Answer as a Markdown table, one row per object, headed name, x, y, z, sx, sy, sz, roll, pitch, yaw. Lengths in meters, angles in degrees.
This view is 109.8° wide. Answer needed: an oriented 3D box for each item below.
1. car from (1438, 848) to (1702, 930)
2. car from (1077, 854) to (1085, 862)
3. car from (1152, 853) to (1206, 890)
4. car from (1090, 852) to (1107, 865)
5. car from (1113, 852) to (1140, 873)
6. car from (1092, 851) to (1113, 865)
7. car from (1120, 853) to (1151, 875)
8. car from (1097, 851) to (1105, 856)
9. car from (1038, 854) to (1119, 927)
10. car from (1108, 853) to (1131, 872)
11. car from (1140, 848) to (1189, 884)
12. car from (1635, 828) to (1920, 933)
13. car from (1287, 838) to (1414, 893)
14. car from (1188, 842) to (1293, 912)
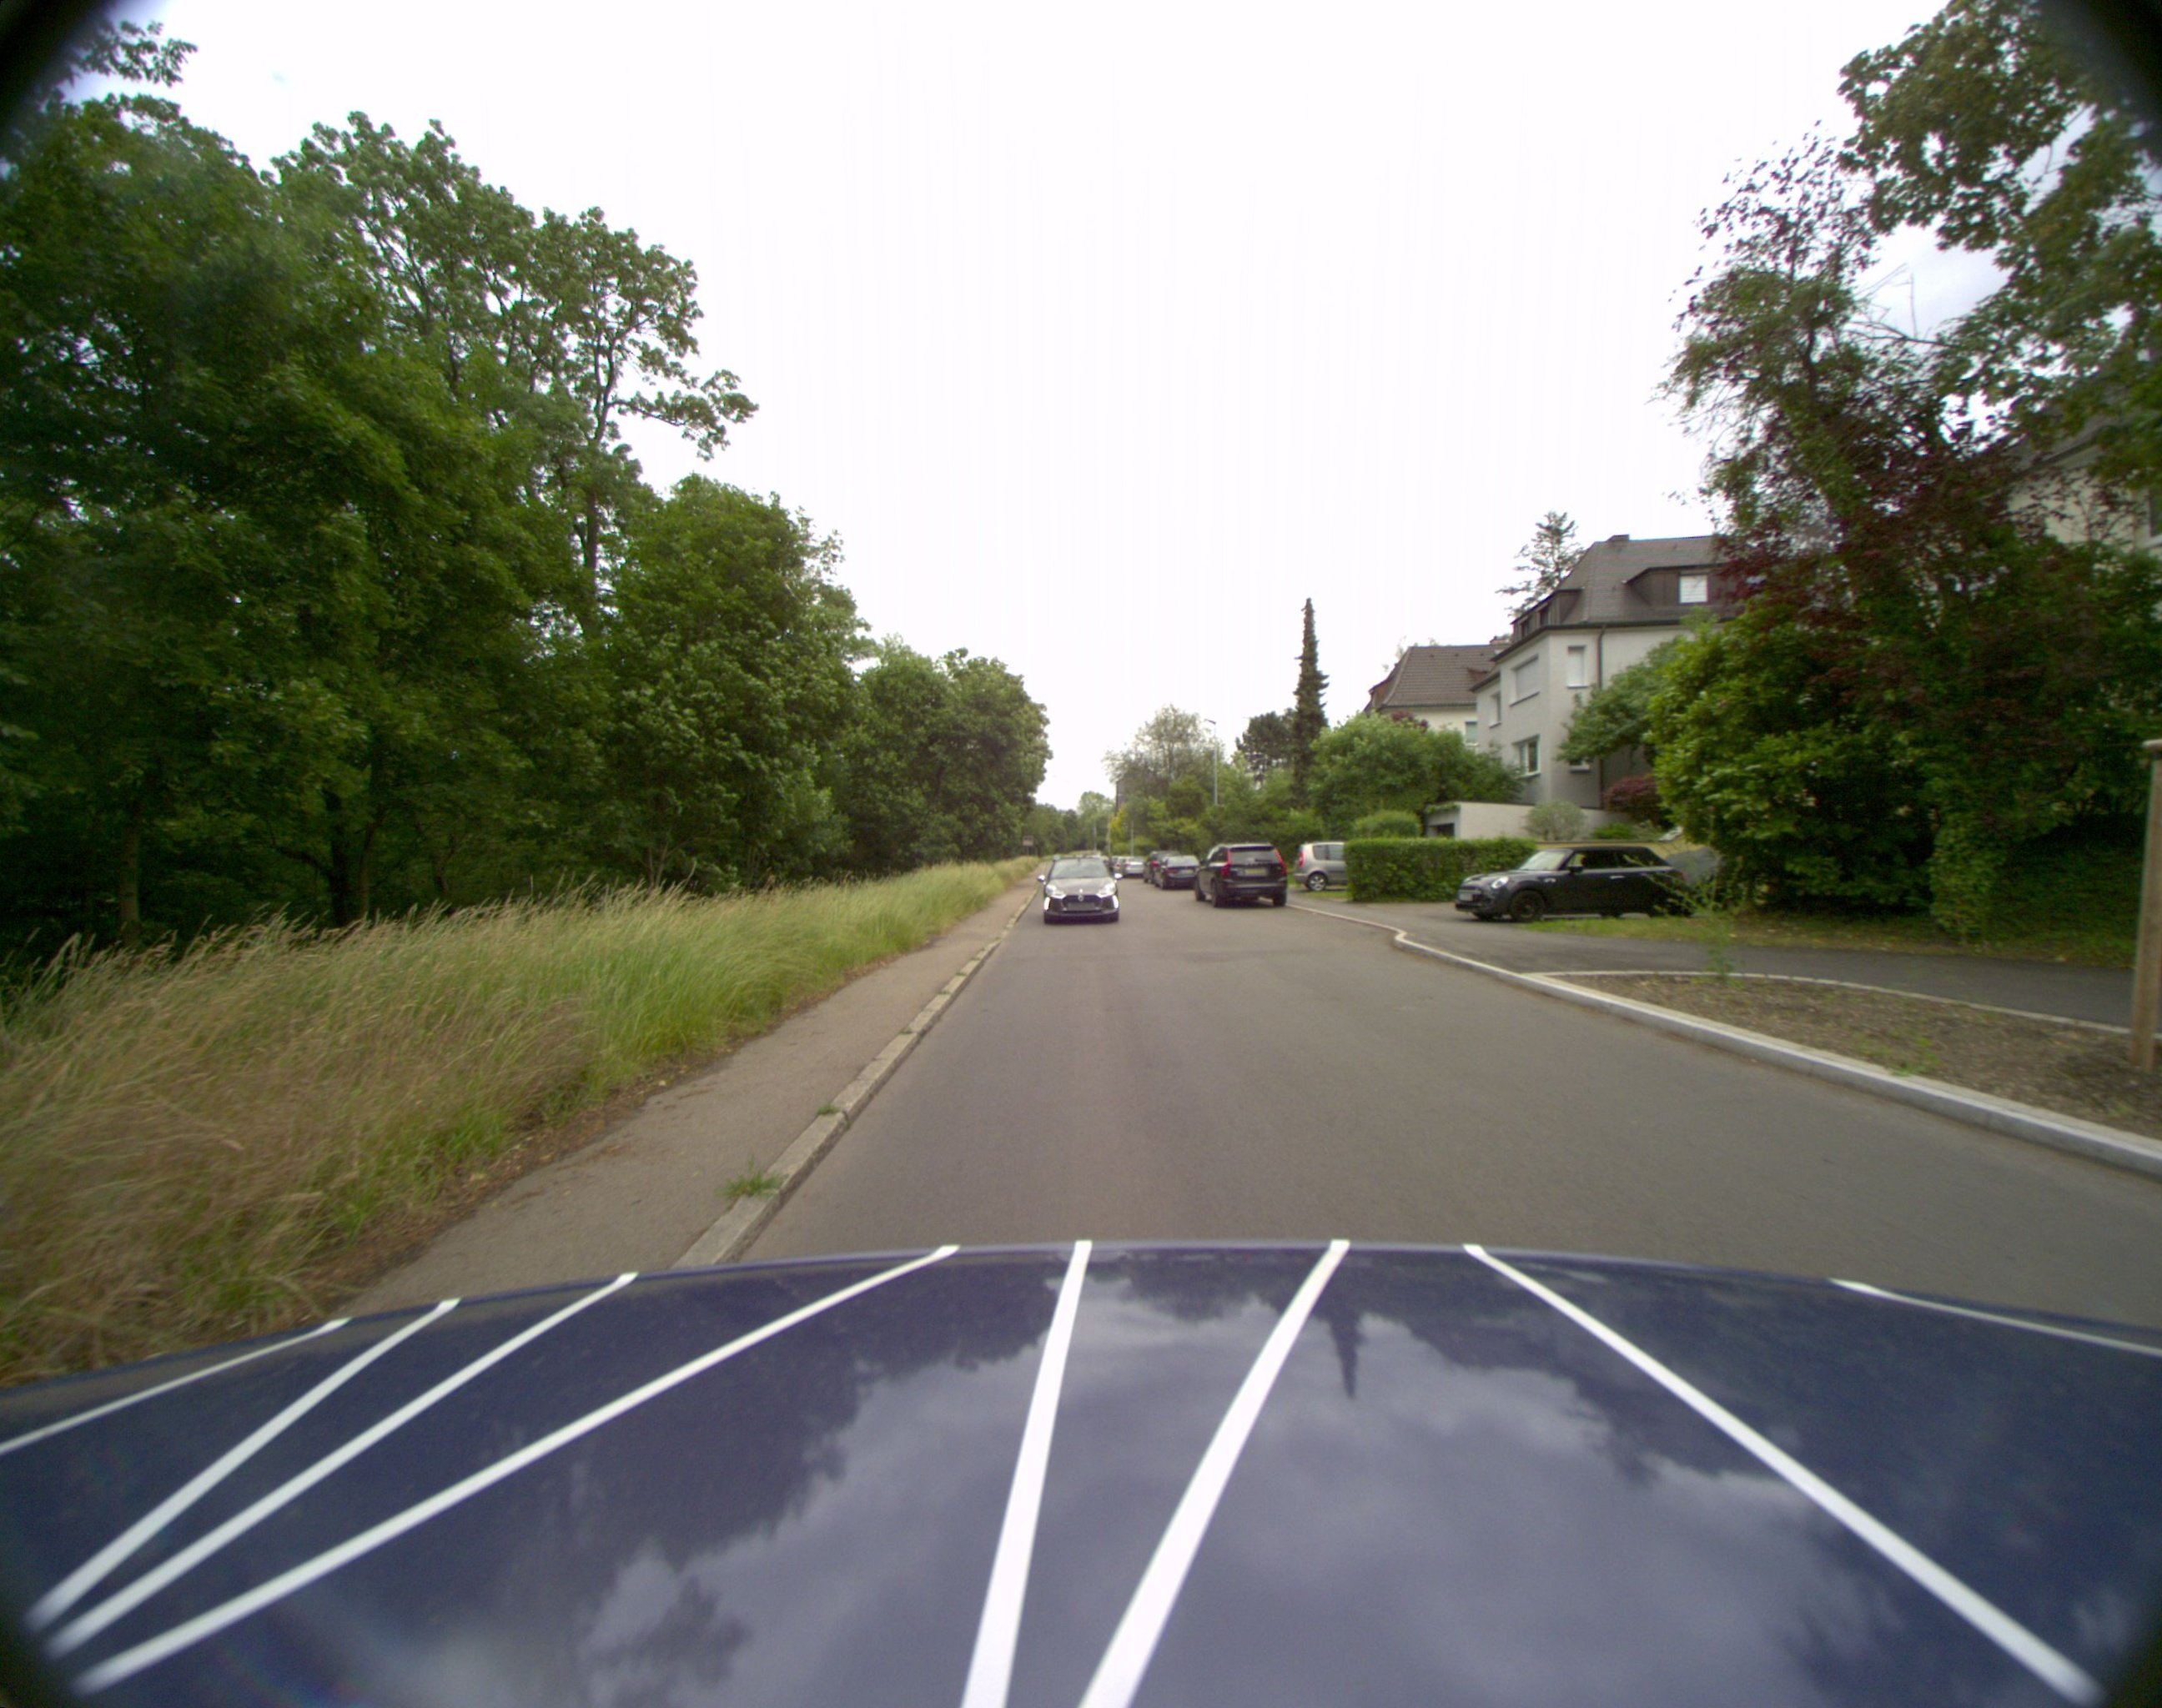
| name | x | y | z | sx | sy | sz | roll | pitch | yaw |
| --- | --- | --- | --- | --- | --- | --- | --- | --- | --- |
| car | 9.123 | 0.640 | 14.426 | 3.832 | 1.377 | 1.778 | -1 | -1 | 1 |
| car | 0.014 | 0.775 | 149.701 | 1.647 | 1.461 | 4.071 | 1 | 0 | 1 |
| car | 4.154 | 0.705 | 32.898 | 1.758 | 1.404 | 4.898 | -2 | 0 | 1 |
| car | 2.008 | 0.540 | 87.730 | 1.628 | 1.423 | 4.349 | 0 | 0 | -3 |
| car | 3.333 | 0.619 | 56.335 | 1.664 | 1.444 | 4.381 | 0 | 0 | -1 |
| car | 2.290 | 0.419 | 81.247 | 1.783 | 1.423 | 5.103 | -1 | 0 | -3 |
| car | 3.570 | 0.627 | 50.472 | 1.627 | 1.441 | 4.092 | 0 | 0 | -2 |
| car | 5.229 | -0.135 | 201.404 | 1.735 | 1.420 | 3.460 | 1 | 1 | 10 |
| car | 0.016 | 0.769 | 17.878 | 1.619 | 1.460 | 4.000 | -2 | 0 | 2 |
| car | 3.100 | 0.645 | 61.049 | 1.627 | 1.441 | 3.968 | 0 | 0 | 0 |
| car | 4.141 | 0.555 | 38.347 | 1.736 | 1.623 | 4.567 | -2 | 0 | -2 |
| car | 13.310 | 0.469 | 14.756 | 3.555 | 1.783 | 2.010 | 2 | 0 | 4 |
| car | 8.836 | 0.369 | 25.185 | 3.698 | 1.628 | 1.829 | -2 | 1 | 11 |
| car | 4.485 | 0.583 | 22.179 | 1.979 | 1.726 | 5.189 | -2 | 0 | 1 |
